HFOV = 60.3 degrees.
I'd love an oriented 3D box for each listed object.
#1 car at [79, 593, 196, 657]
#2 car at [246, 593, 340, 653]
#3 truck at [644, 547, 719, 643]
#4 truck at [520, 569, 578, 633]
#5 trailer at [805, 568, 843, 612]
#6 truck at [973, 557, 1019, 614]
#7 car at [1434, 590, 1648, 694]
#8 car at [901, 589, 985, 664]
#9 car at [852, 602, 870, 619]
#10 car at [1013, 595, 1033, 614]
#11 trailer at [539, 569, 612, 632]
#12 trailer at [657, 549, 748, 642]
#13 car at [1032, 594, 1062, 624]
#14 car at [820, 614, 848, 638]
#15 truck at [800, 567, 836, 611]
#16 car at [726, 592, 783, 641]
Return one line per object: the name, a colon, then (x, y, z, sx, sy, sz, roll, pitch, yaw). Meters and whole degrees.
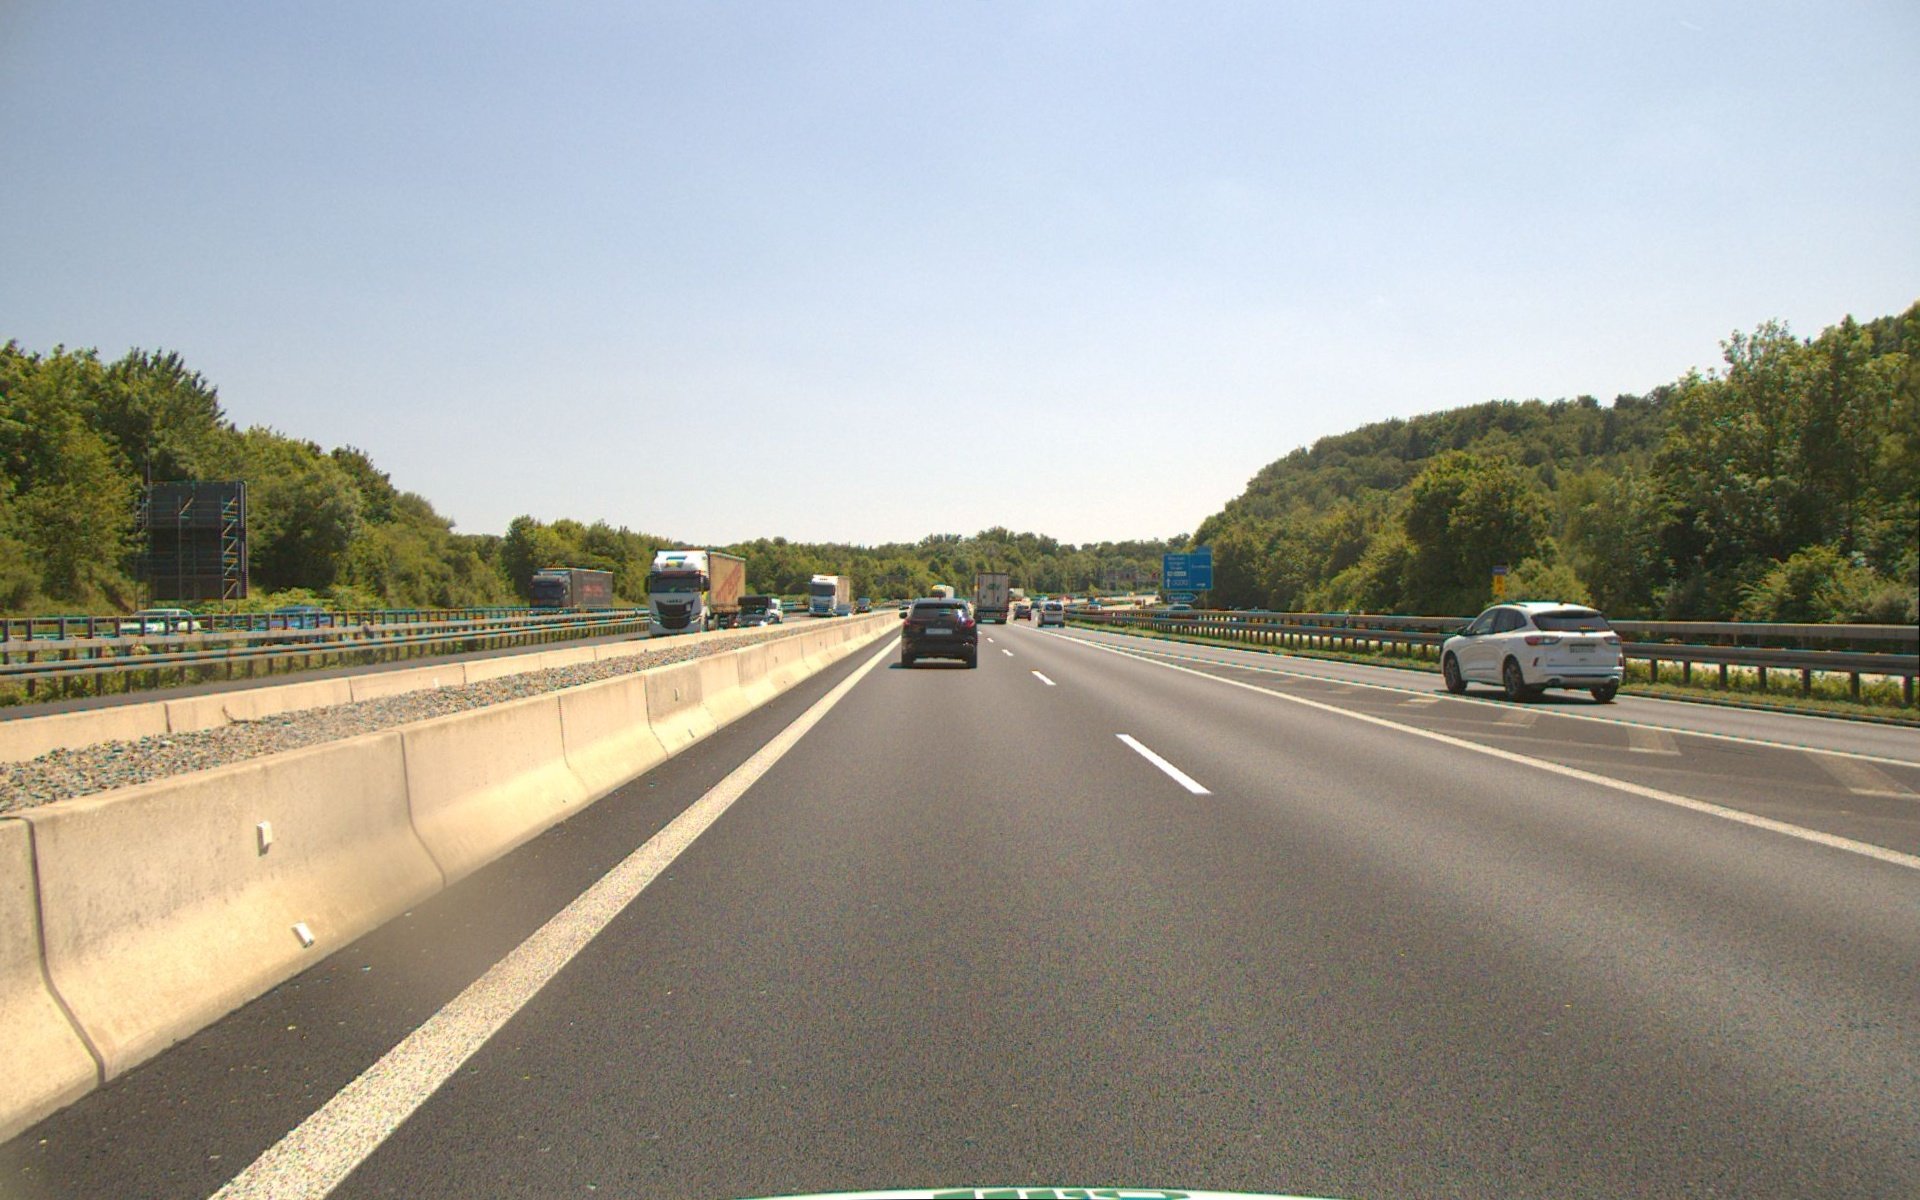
car: (-27.776, 0.830, 56.004, 1.953, 2.049, 3.999, 1, -1, 0)
car: (-24.201, 0.827, 60.177, 1.954, 2.049, 3.997, 1, -1, -4)
truck: (-13.075, -0.213, 77.958, 2.651, 4.363, 4.553, 1, -1, 0)
truck: (-28.811, 0.096, 116.082, 2.753, 4.347, 4.997, 1, -1, -1)
trailer: (-13.496, -0.925, 165.323, 2.850, 4.116, 12.061, 1, 0, 0)
truck: (3.083, -1.095, 137.308, 2.968, 4.496, 12.025, 1, 0, 5)
car: (10.262, 0.713, 29.587, 1.954, 1.691, 4.463, 1, 0, -5)
car: (-0.458, 0.611, 39.806, 1.744, 1.604, 3.997, 3, -1, -3)
car: (-11.797, 1.240, 196.960, 1.953, 2.049, 4.484, 1, 0, -1)
car: (6.754, 0.507, 177.454, 1.953, 2.049, 3.999, 1, -1, -1)
trailer: (-28.785, 0.084, 124.376, 2.737, 4.511, 11.652, 1, 0, 0)
trailer: (-13.180, -0.162, 85.885, 2.613, 4.348, 13.812, 1, 0, -1)
car: (6.353, 0.637, 121.261, 1.953, 2.049, 4.000, -2, 0, 0)
car: (-10.017, 2.058, 131.717, 1.944, 1.858, 4.824, 1, 0, -2)
truck: (-13.426, -0.961, 156.816, 2.869, 4.042, 5.897, 1, -1, -1)
car: (-9.136, 0.709, 73.901, 1.879, 2.049, 5.345, -1, 0, -1)
